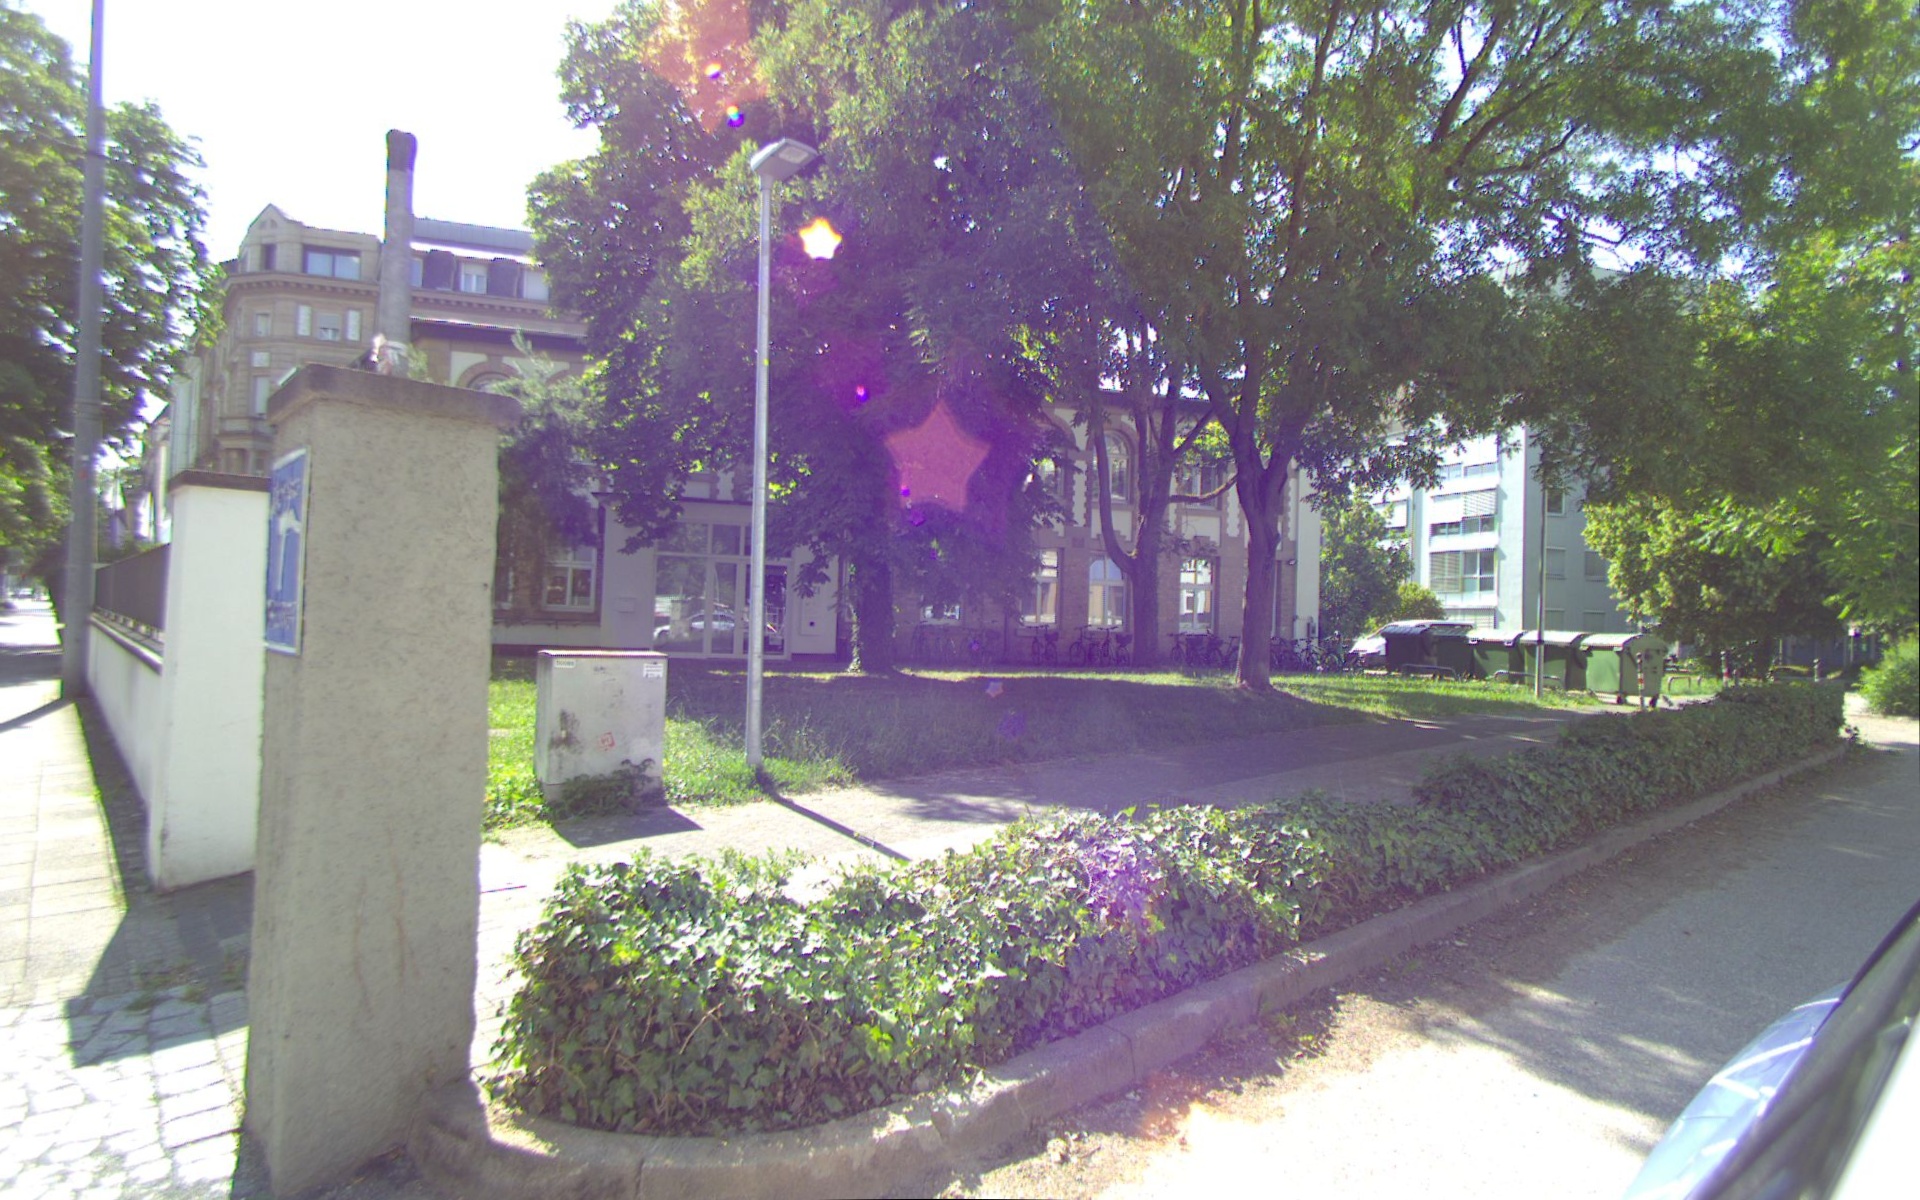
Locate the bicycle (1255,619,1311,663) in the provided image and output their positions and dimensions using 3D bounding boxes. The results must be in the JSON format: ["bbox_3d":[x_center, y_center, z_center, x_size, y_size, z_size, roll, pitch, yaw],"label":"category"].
[{"bbox_3d":[9.139,1.157,28.703,0.484,1.176,1.918,2,-1,-17],"label":"bicycle"}]

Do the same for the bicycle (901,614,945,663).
[{"bbox_3d":[-0.972,0.954,25.821,0.575,1.176,2.107,2,-1,-17],"label":"bicycle"}]

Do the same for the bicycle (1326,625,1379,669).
[{"bbox_3d":[11.207,1.317,28.960,0.546,1.176,1.947,1,-1,-7],"label":"bicycle"}]

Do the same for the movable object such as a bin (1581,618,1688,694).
[{"bbox_3d":[13.772,1.123,20.709,1.191,1.481,1.393,1,-1,-5],"label":"movable object such as a bin"}]

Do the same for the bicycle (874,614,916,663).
[{"bbox_3d":[-1.668,0.947,25.614,0.575,1.176,2.107,2,-1,-17],"label":"bicycle"}]

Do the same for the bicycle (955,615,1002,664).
[{"bbox_3d":[0.466,1.003,26.319,0.575,1.176,2.107,2,-1,-17],"label":"bicycle"}]

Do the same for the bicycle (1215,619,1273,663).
[{"bbox_3d":[7.916,1.125,28.280,0.575,1.176,1.925,2,-1,-17],"label":"bicycle"}]

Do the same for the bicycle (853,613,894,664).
[{"bbox_3d":[-2.154,0.929,25.004,0.575,1.176,2.107,2,-1,-17],"label":"bicycle"}]

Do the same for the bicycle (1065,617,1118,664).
[{"bbox_3d":[3.490,1.070,27.106,0.575,1.176,2.107,2,-1,-17],"label":"bicycle"}]

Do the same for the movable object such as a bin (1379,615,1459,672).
[{"bbox_3d":[12.027,1.127,26.545,1.224,1.427,1.439,2,-1,-21],"label":"movable object such as a bin"}]

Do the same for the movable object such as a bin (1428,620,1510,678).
[{"bbox_3d":[12.583,1.193,25.068,1.190,1.366,1.355,2,-1,-20],"label":"movable object such as a bin"}]

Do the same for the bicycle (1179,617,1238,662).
[{"bbox_3d":[6.860,1.071,28.074,0.575,1.176,2.107,2,-1,-17],"label":"bicycle"}]

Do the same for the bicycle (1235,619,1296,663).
[{"bbox_3d":[8.596,1.136,28.560,0.575,1.176,2.107,2,-1,-17],"label":"bicycle"}]

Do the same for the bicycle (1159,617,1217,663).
[{"bbox_3d":[6.248,1.071,27.830,0.575,1.176,2.107,2,-1,-17],"label":"bicycle"}]

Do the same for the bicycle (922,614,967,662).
[{"bbox_3d":[-0.425,0.959,26.117,0.575,1.176,2.107,2,-1,-17],"label":"bicycle"}]

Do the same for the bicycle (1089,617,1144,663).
[{"bbox_3d":[4.206,1.060,27.361,0.575,1.176,2.107,2,-1,-17],"label":"bicycle"}]

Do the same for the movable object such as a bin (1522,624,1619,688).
[{"bbox_3d":[13.315,1.201,22.116,1.190,1.317,1.358,2,-1,-20],"label":"movable object such as a bin"}]

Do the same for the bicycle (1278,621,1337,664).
[{"bbox_3d":[9.931,1.201,28.996,0.600,1.176,1.855,2,-1,-17],"label":"bicycle"}]

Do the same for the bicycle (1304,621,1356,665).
[{"bbox_3d":[10.582,1.213,29.031,0.496,1.176,1.808,2,-1,-12],"label":"bicycle"}]

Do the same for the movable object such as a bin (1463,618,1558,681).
[{"bbox_3d":[12.790,1.140,23.553,1.190,1.379,1.505,2,-1,-20],"label":"movable object such as a bin"}]

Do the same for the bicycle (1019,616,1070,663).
[{"bbox_3d":[2.203,1.017,26.757,0.575,1.176,2.107,2,-1,-17],"label":"bicycle"}]
